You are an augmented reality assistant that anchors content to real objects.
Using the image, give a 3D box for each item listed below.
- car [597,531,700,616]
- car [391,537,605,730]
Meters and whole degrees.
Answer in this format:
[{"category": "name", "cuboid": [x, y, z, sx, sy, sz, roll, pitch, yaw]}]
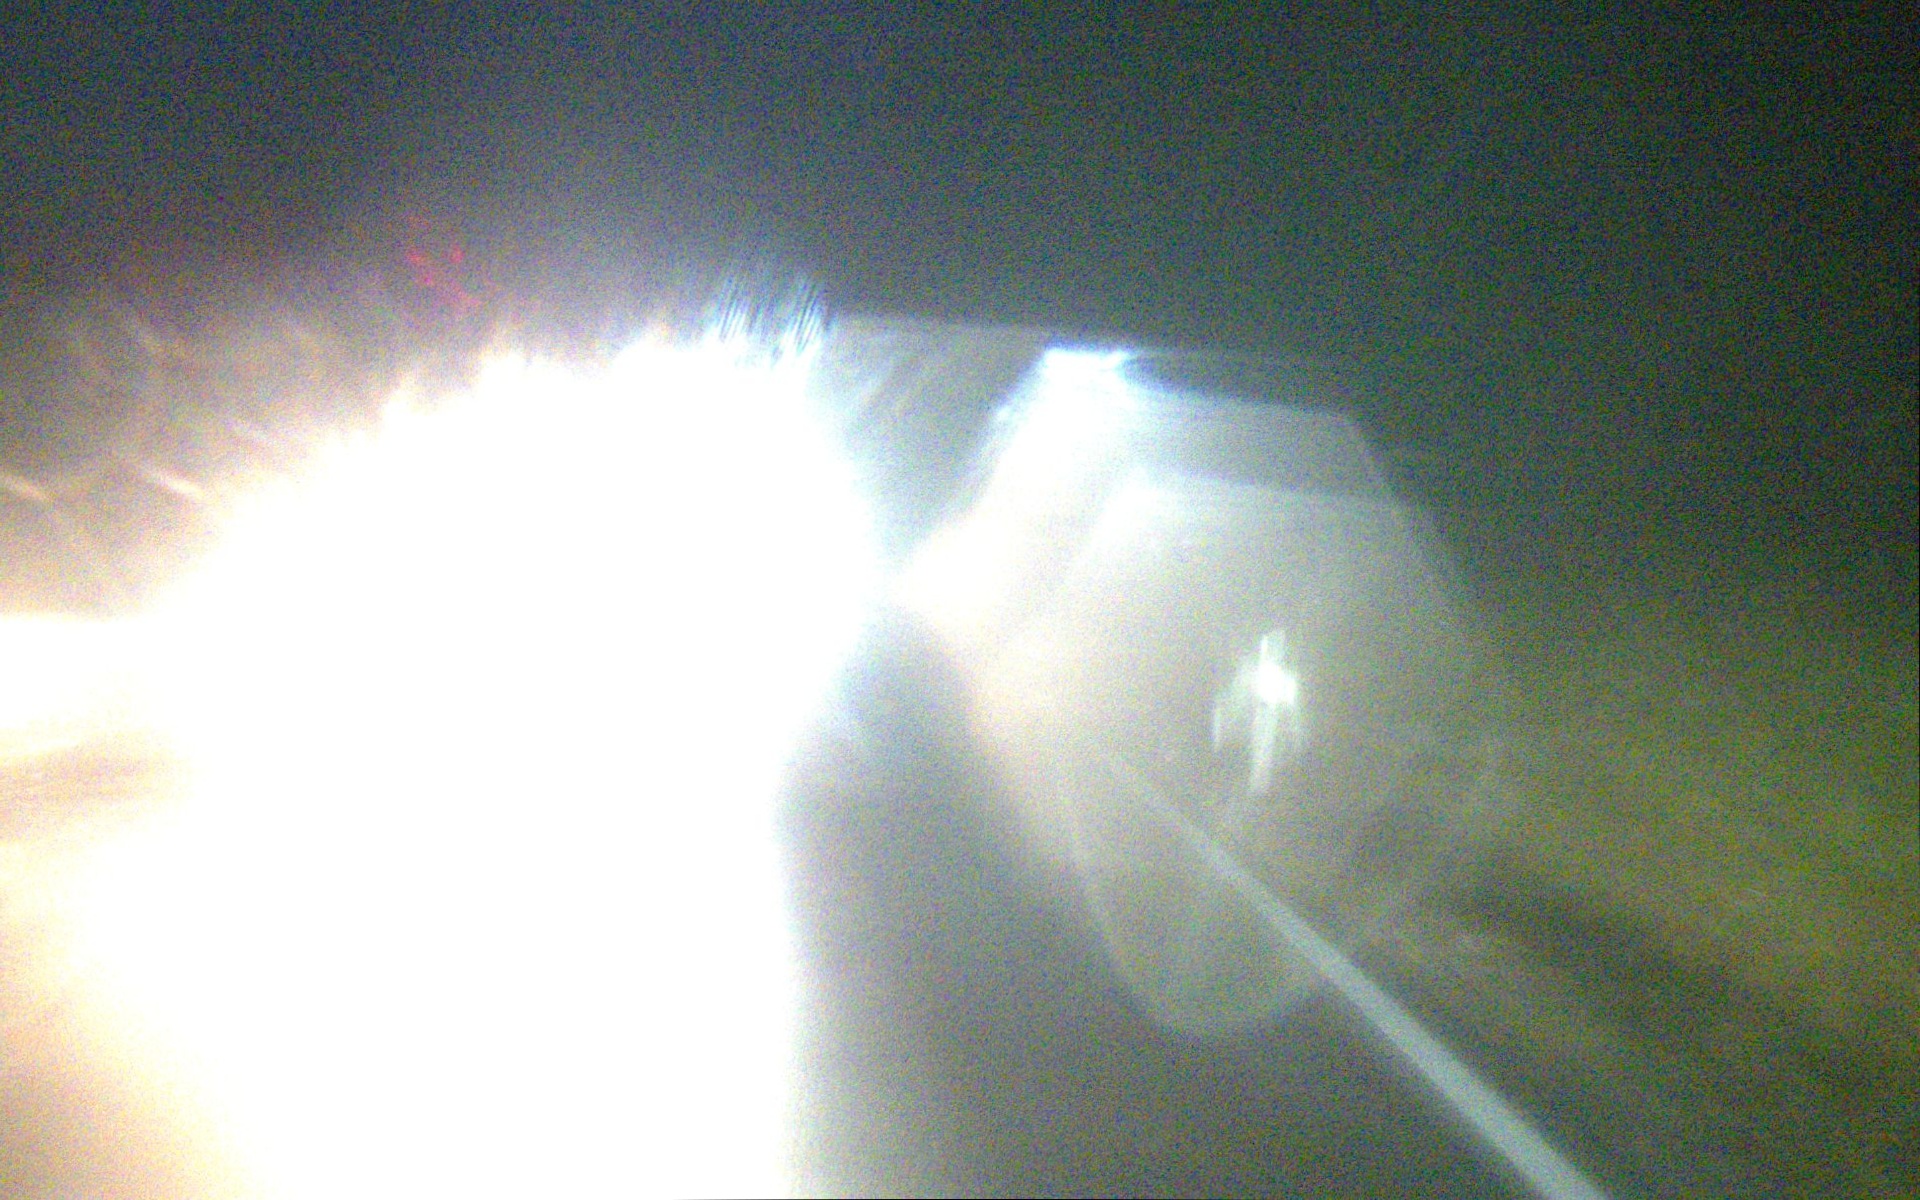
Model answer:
[{"category": "car", "cuboid": [-6.479, -0.581, 71.874, 1.926, 1.698, 4.001, 1, 1, -2]}, {"category": "car", "cuboid": [-4.258, 0.262, 32.095, 1.483, 1.610, 3.561, 3, 1, -1]}]
